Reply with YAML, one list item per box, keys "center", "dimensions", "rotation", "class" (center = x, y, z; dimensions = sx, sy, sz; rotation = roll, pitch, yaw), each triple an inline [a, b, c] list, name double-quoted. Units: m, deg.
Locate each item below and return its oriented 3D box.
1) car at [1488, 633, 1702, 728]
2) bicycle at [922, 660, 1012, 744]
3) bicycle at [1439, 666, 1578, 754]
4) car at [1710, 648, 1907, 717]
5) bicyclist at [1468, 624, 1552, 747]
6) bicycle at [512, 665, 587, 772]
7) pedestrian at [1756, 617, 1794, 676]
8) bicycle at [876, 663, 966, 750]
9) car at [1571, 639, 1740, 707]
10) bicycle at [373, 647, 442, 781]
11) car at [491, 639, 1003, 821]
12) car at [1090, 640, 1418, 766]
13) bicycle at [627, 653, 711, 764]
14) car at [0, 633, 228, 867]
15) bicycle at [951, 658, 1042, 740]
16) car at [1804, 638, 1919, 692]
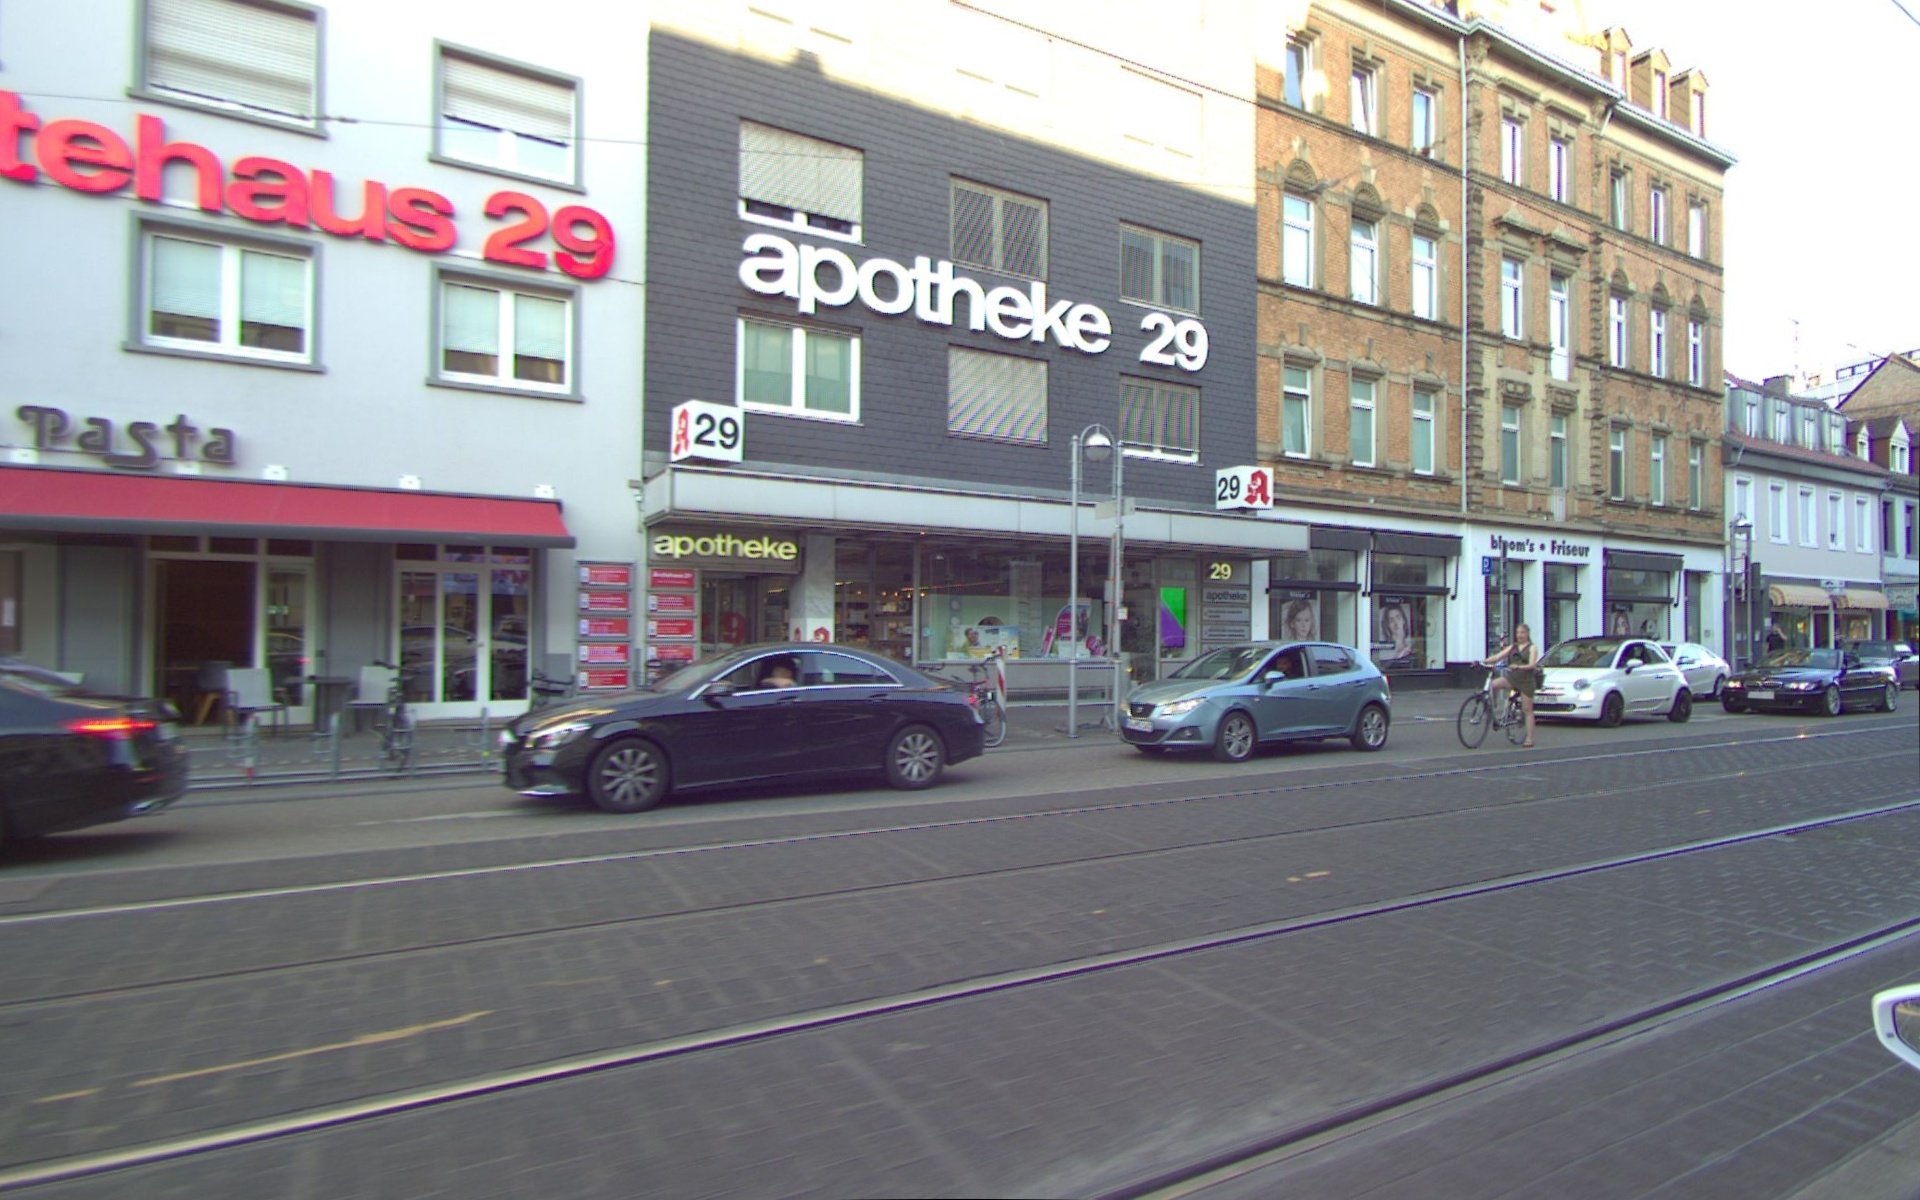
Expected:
- center: [11.228, 1.377, 17.737]
  dimensions: [3.637, 1.525, 1.660]
  rotation: [1, -4, -30]
  class: "car"
- center: [0.067, 1.450, 14.602]
  dimensions: [0.457, 0.997, 1.848]
  rotation: [1, 1, -28]
  class: "bicycle"
- center: [7.359, 1.434, 13.450]
  dimensions: [2.058, 1.047, 0.690]
  rotation: [1, -2, -31]
  class: "bicycle"
- center: [17.064, 1.607, 20.170]
  dimensions: [4.223, 1.244, 1.660]
  rotation: [1, -4, -30]
  class: "car"
- center: [7.365, 1.120, 13.464]
  dimensions: [0.790, 1.586, 0.690]
  rotation: [1, -2, -31]
  class: "bicyclist"
- center: [-4.861, 1.344, 11.833]
  dimensions: [0.600, 0.997, 1.848]
  rotation: [1, 1, -29]
  class: "bicycle"
- center: [25.624, 1.453, 31.596]
  dimensions: [0.844, 1.796, 0.645]
  rotation: [1, 0, -29]
  class: "pedestrian"
- center: [-0.582, 1.470, 14.233]
  dimensions: [0.486, 0.997, 1.848]
  rotation: [1, 1, -28]
  class: "bicycle"
- center: [16.577, 1.679, 23.903]
  dimensions: [4.225, 1.408, 1.750]
  rotation: [1, 0, -32]
  class: "car"
- center: [-6.140, 1.209, 11.189]
  dimensions: [0.600, 1.243, 1.848]
  rotation: [1, 1, -29]
  class: "bicycle"
- center: [-1.992, 1.109, 9.722]
  dimensions: [4.508, 1.404, 1.907]
  rotation: [1, -4, -29]
  class: "car"
- center: [3.833, 1.251, 13.002]
  dimensions: [4.011, 1.404, 1.751]
  rotation: [1, -4, -29]
  class: "car"
- center: [-3.680, 1.305, 12.602]
  dimensions: [0.600, 1.149, 1.848]
  rotation: [1, 1, -29]
  class: "bicycle"
- center: [-7.474, 0.931, 6.200]
  dimensions: [4.508, 1.404, 1.907]
  rotation: [1, -4, -29]
  class: "car"
- center: [0.508, 1.431, 14.858]
  dimensions: [0.457, 0.997, 1.848]
  rotation: [1, 1, -28]
  class: "bicycle"
- center: [27.074, 1.901, 29.893]
  dimensions: [3.817, 1.408, 1.726]
  rotation: [1, 0, -29]
  class: "car"
